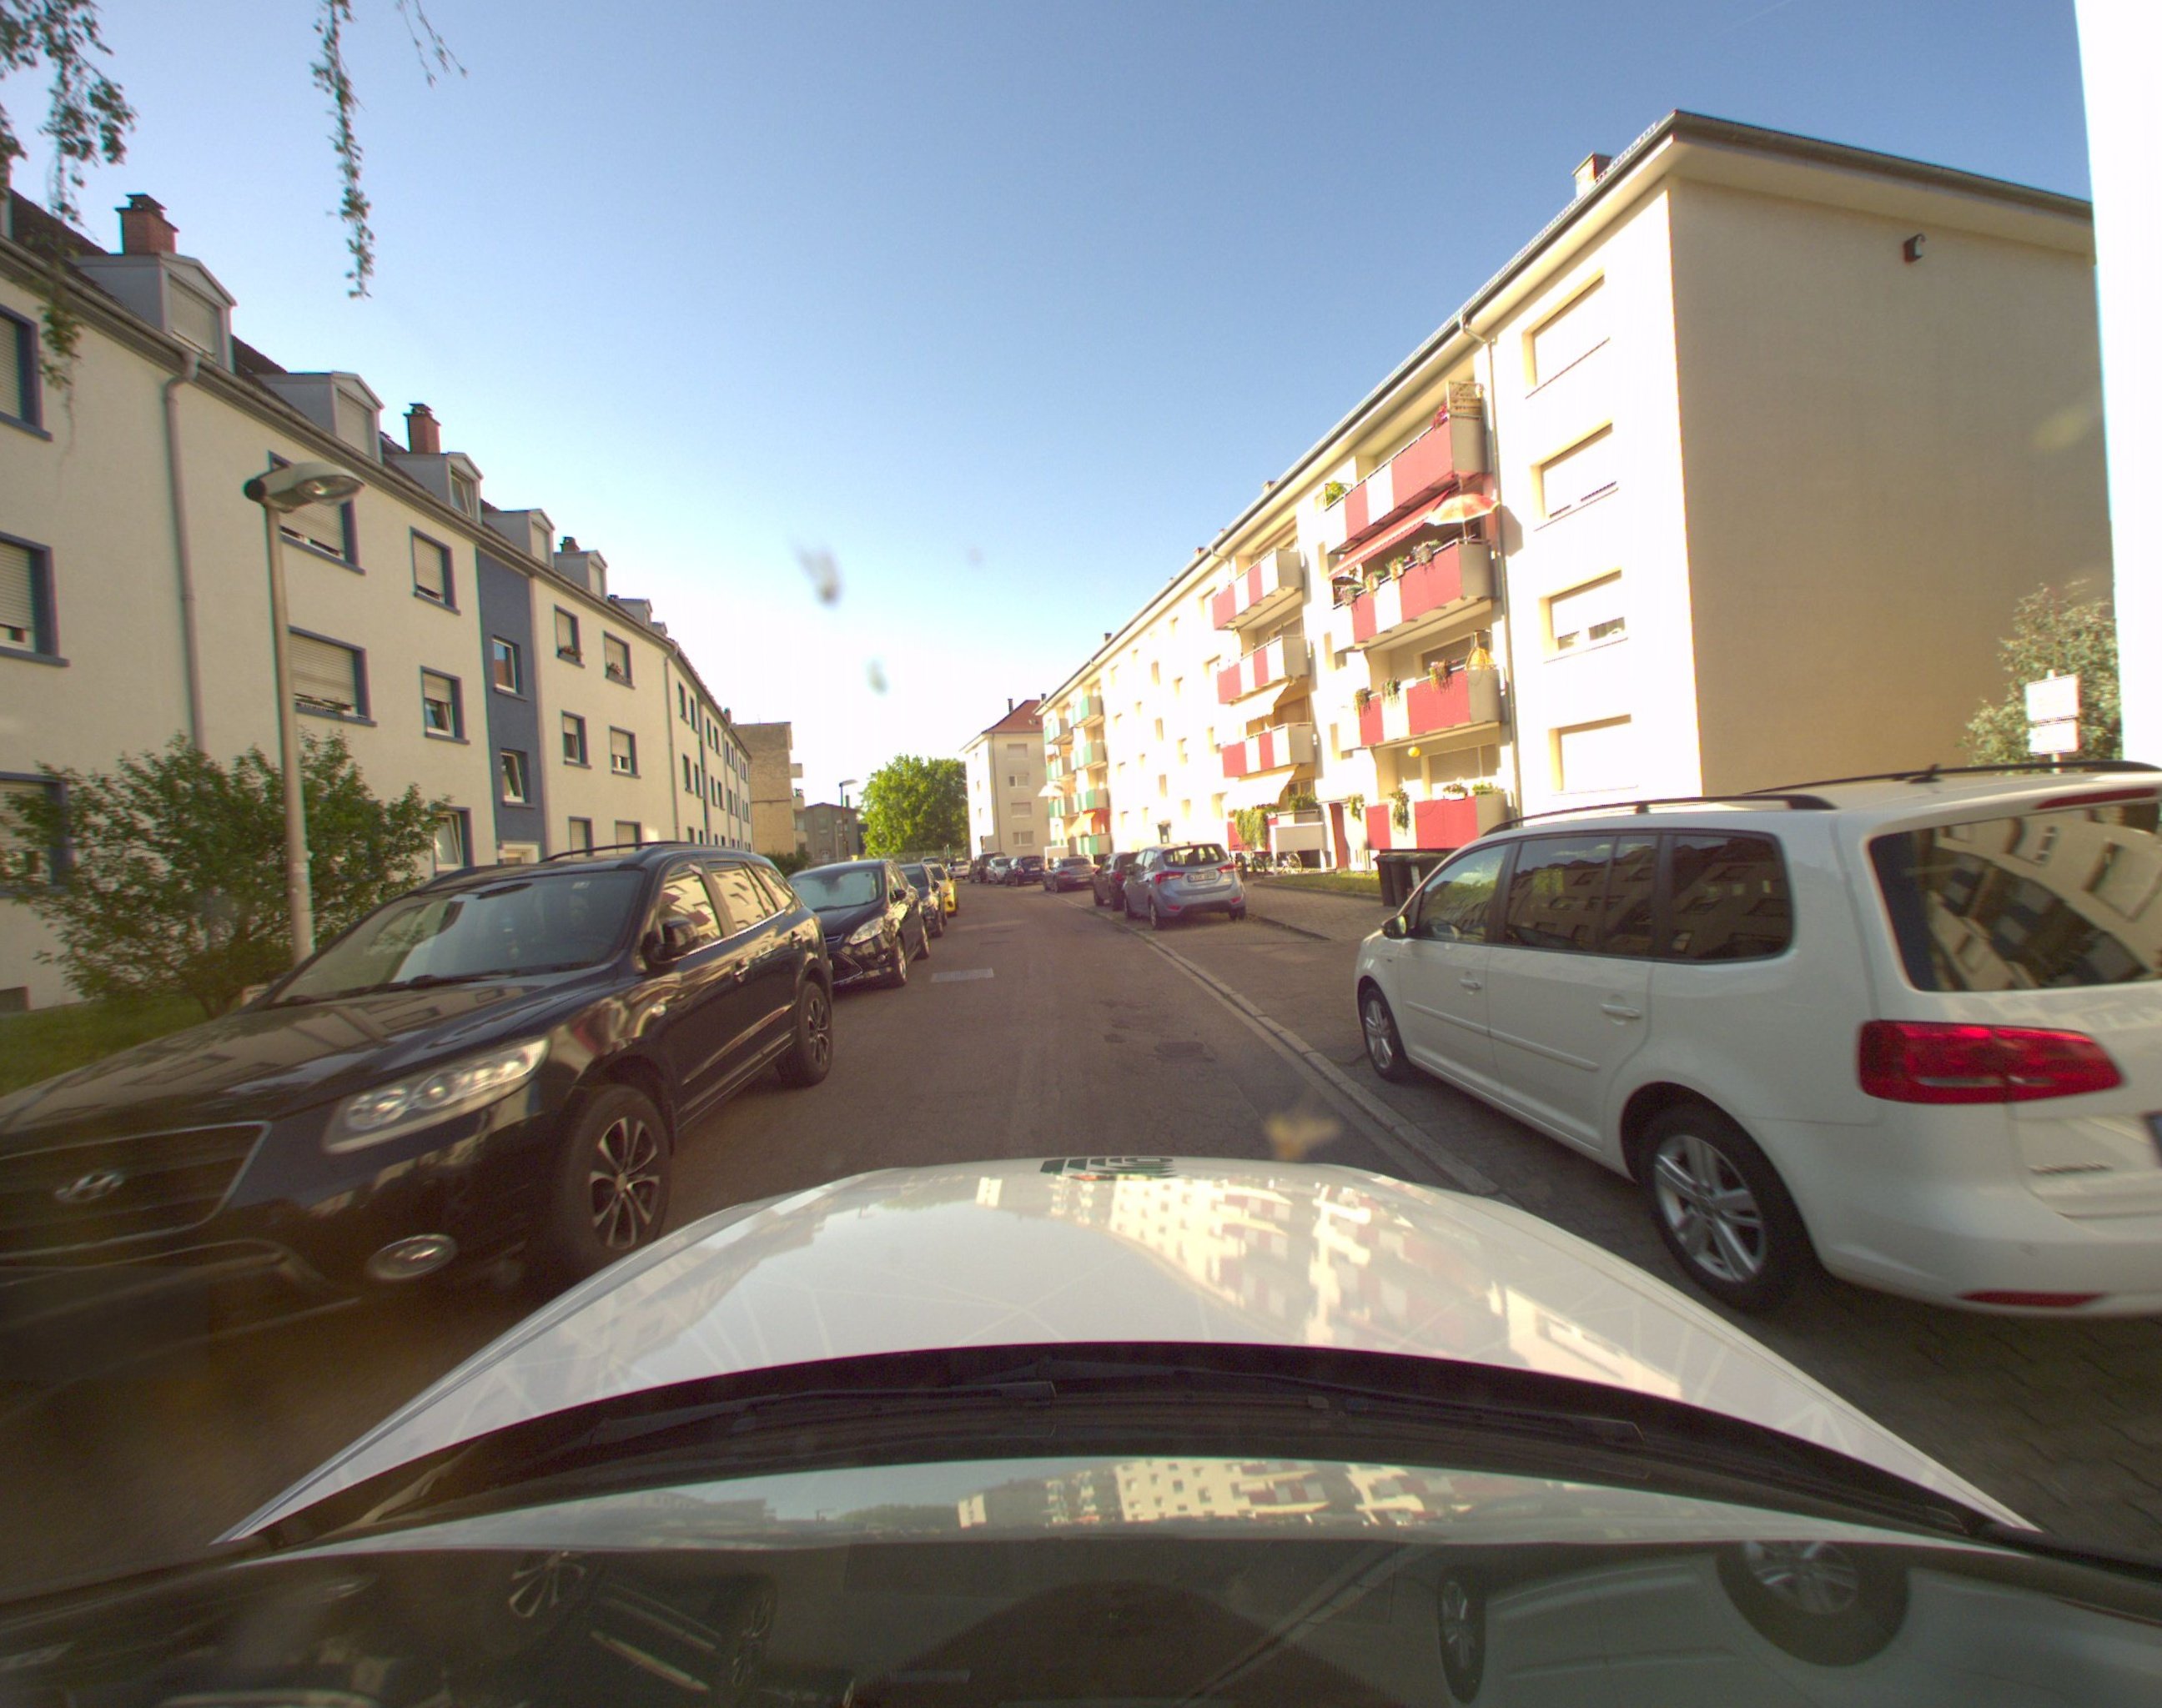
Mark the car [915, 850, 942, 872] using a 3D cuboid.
[{"bbox_3d":[-14.226,0.691,75.944,1.771,1.739,4.068,-7,1,-19],"label":"car"}]

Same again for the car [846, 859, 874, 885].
[{"bbox_3d":[-19.777,1.619,72.749,2.000,2.013,4.425,-7,1,-19],"label":"car"}]

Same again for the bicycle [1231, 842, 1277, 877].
[{"bbox_3d":[5.440,0.155,25.648,0.618,0.978,1.889,-8,3,-11],"label":"bicycle"}]

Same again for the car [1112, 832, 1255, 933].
[{"bbox_3d":[1.957,0.486,16.830,1.765,1.635,4.030,-7,2,-8],"label":"car"}]

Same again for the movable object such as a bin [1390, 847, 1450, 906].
[{"bbox_3d":[5.566,0.364,13.411,0.583,0.888,0.639,-7,1,-9],"label":"movable object such as a bin"}]

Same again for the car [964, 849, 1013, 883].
[{"bbox_3d":[-5.795,0.777,50.539,1.903,1.855,4.314,-6,0,-20],"label":"car"}]

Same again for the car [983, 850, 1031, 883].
[{"bbox_3d":[-4.198,0.715,45.812,1.686,1.587,3.988,-6,1,-18],"label":"car"}]

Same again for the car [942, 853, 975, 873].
[{"bbox_3d":[-9.141,0.679,60.545,1.722,1.364,4.030,-4,1,-18],"label":"car"}]

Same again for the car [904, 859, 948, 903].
[{"bbox_3d":[-6.292,1.045,33.077,1.480,1.476,3.617,-9,1,-11],"label":"car"}]

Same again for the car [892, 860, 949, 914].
[{"bbox_3d":[-5.461,1.041,27.609,1.570,1.464,4.244,-7,1,-12],"label":"car"}]

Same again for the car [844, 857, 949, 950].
[{"bbox_3d":[-3.725,0.917,17.020,1.693,1.444,4.008,-7,2,-9],"label":"car"}]

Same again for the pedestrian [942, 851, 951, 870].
[{"bbox_3d":[-13.314,0.687,80.771,0.654,1.815,0.612,-7,1,-9],"label":"pedestrian"}]

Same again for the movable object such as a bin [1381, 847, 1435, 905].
[{"bbox_3d":[5.530,0.372,13.792,0.583,0.899,0.516,-7,1,-9],"label":"movable object such as a bin"}]

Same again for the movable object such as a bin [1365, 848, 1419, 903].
[{"bbox_3d":[5.487,0.373,14.384,0.583,0.900,0.583,-7,1,-9],"label":"movable object such as a bin"}]

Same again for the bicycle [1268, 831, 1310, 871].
[{"bbox_3d":[6.489,-0.083,25.515,0.407,1.150,1.755,-7,1,-12],"label":"bicycle"}]

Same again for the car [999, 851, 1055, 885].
[{"bbox_3d":[-2.789,0.725,41.131,1.742,1.431,4.331,-7,1,-17],"label":"car"}]

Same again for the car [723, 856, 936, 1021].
[{"bbox_3d":[-3.084,0.914,10.890,1.691,1.560,4.150,-6,1,-5],"label":"car"}]

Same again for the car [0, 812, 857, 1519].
[{"bbox_3d":[-2.564,0.852,4.361,1.552,1.714,4.332,-8,0,-3],"label":"car"}]

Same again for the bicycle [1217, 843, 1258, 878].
[{"bbox_3d":[4.878,0.201,25.444,0.498,1.019,1.834,-7,1,-11],"label":"bicycle"}]

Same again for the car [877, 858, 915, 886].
[{"bbox_3d":[-11.069,1.063,48.536,1.664,1.443,3.846,-7,1,-19],"label":"car"}]

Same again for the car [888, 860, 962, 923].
[{"bbox_3d":[-4.235,0.961,22.588,1.693,1.389,4.144,-6,1,-9],"label":"car"}]

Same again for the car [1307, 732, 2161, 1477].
[{"bbox_3d":[2.744,0.485,4.117,1.690,1.655,4.387,-6,2,-2],"label":"car"}]

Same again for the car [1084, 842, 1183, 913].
[{"bbox_3d":[1.317,0.571,22.010,1.735,1.508,3.874,-8,1,-9],"label":"car"}]

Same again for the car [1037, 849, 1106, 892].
[{"bbox_3d":[-0.453,0.616,32.265,1.688,1.363,4.220,-8,1,-13],"label":"car"}]

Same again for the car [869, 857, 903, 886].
[{"bbox_3d":[-13.985,1.284,58.298,1.902,1.855,4.168,-6,0,-19],"label":"car"}]

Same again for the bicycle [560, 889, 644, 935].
[{"bbox_3d":[-12.592,1.520,21.433,1.814,1.078,0.568,-2,1,0],"label":"bicycle"}]
